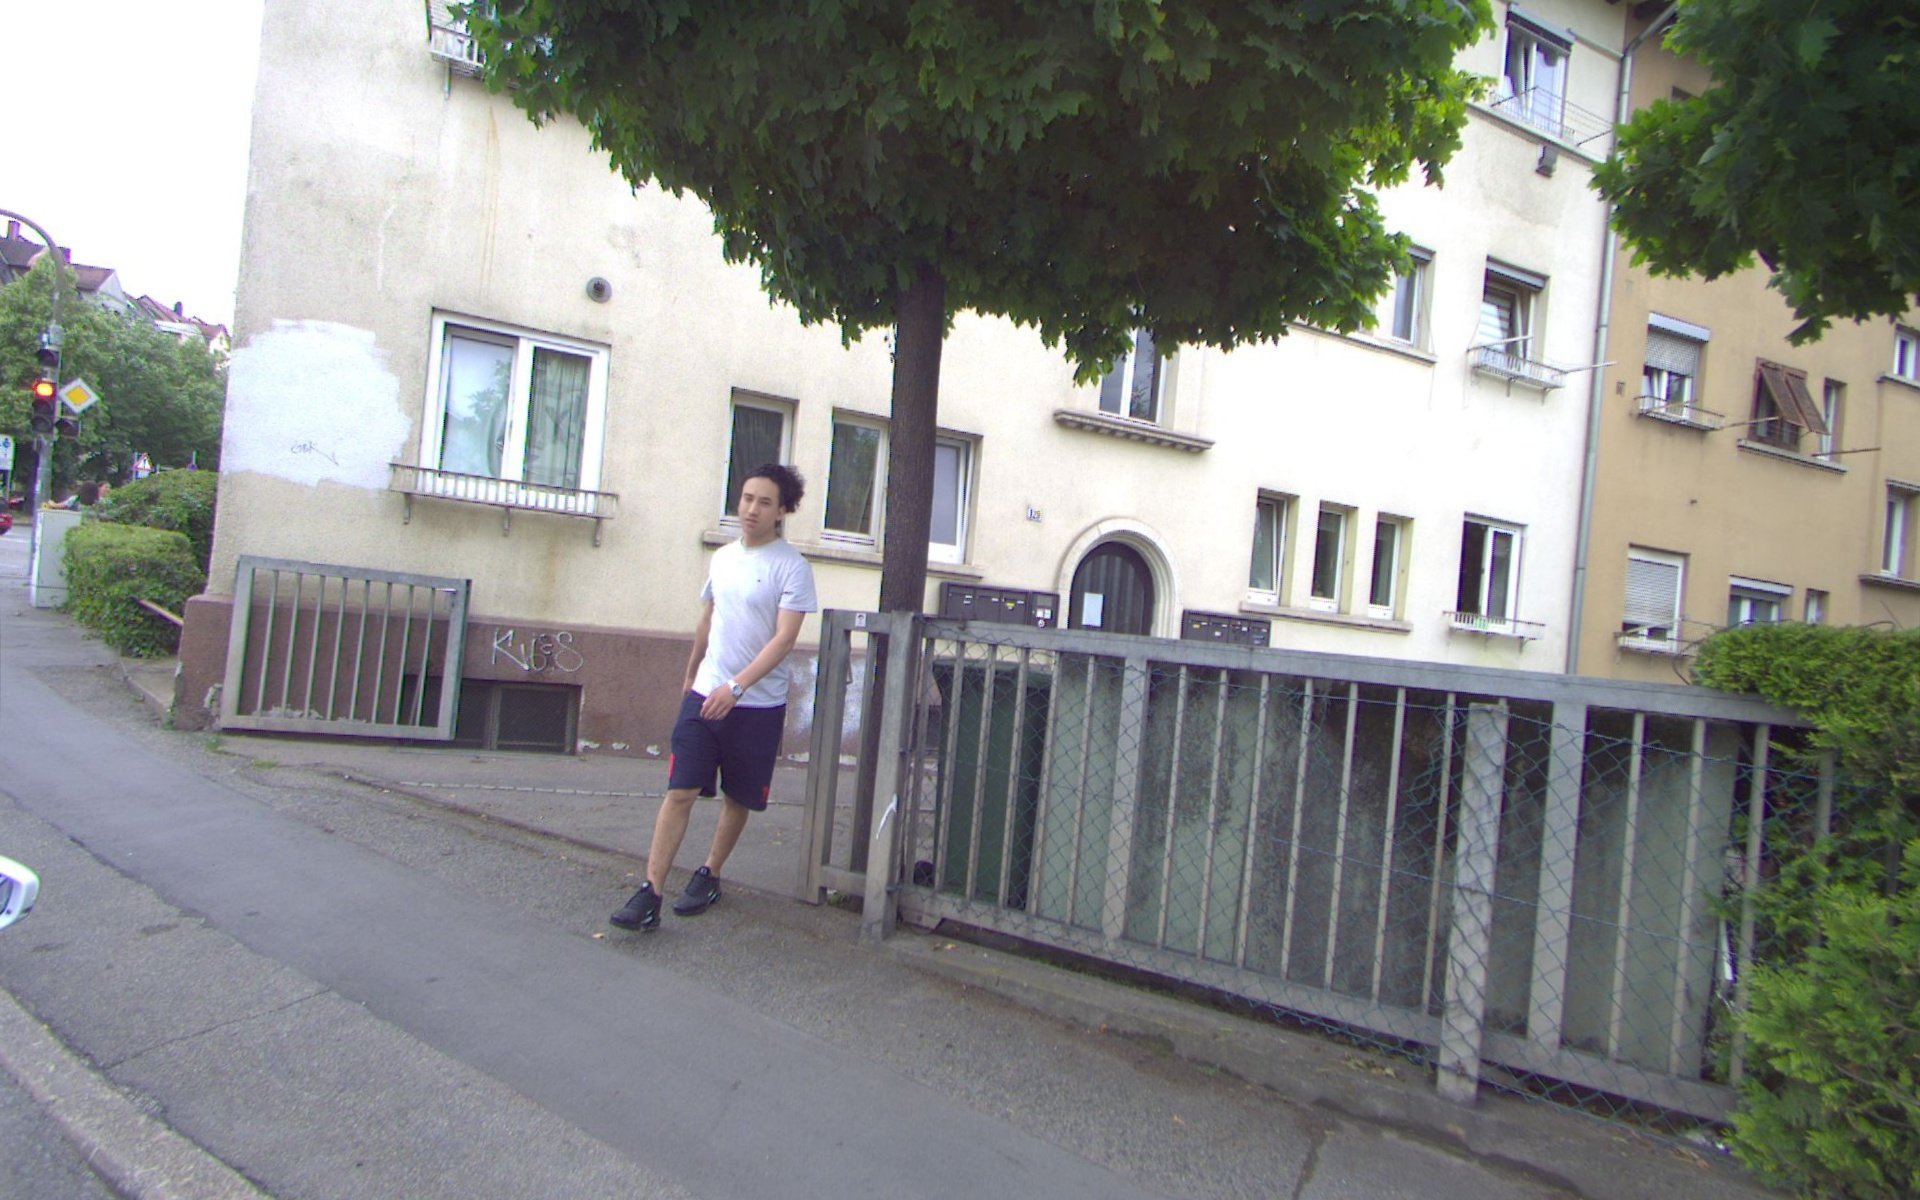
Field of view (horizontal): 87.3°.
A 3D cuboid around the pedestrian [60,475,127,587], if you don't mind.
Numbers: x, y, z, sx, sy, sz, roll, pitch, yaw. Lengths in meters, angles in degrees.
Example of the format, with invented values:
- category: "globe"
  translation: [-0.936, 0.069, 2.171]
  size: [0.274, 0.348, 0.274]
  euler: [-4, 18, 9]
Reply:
- category: "pedestrian"
  translation: [-14.998, -1.194, 17.416]
  size: [0.581, 1.840, 0.529]
  euler: [7, -2, 32]

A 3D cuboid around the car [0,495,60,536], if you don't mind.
- category: "car"
  translation: [-60.997, -5.520, 65.358]
  size: [1.970, 2.036, 3.991]
  euler: [8, -3, -15]

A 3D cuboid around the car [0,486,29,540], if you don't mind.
- category: "car"
  translation: [-33.281, -3.160, 32.776]
  size: [3.931, 1.680, 1.716]
  euler: [8, -2, -6]

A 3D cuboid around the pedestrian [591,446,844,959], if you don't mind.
- category: "pedestrian"
  translation: [-0.921, 0.341, 3.816]
  size: [0.684, 1.761, 0.466]
  euler: [7, 3, 29]

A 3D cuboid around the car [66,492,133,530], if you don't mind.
- category: "car"
  translation: [-62.970, -6.454, 73.723]
  size: [1.970, 2.036, 3.991]
  euler: [8, -3, -15]
